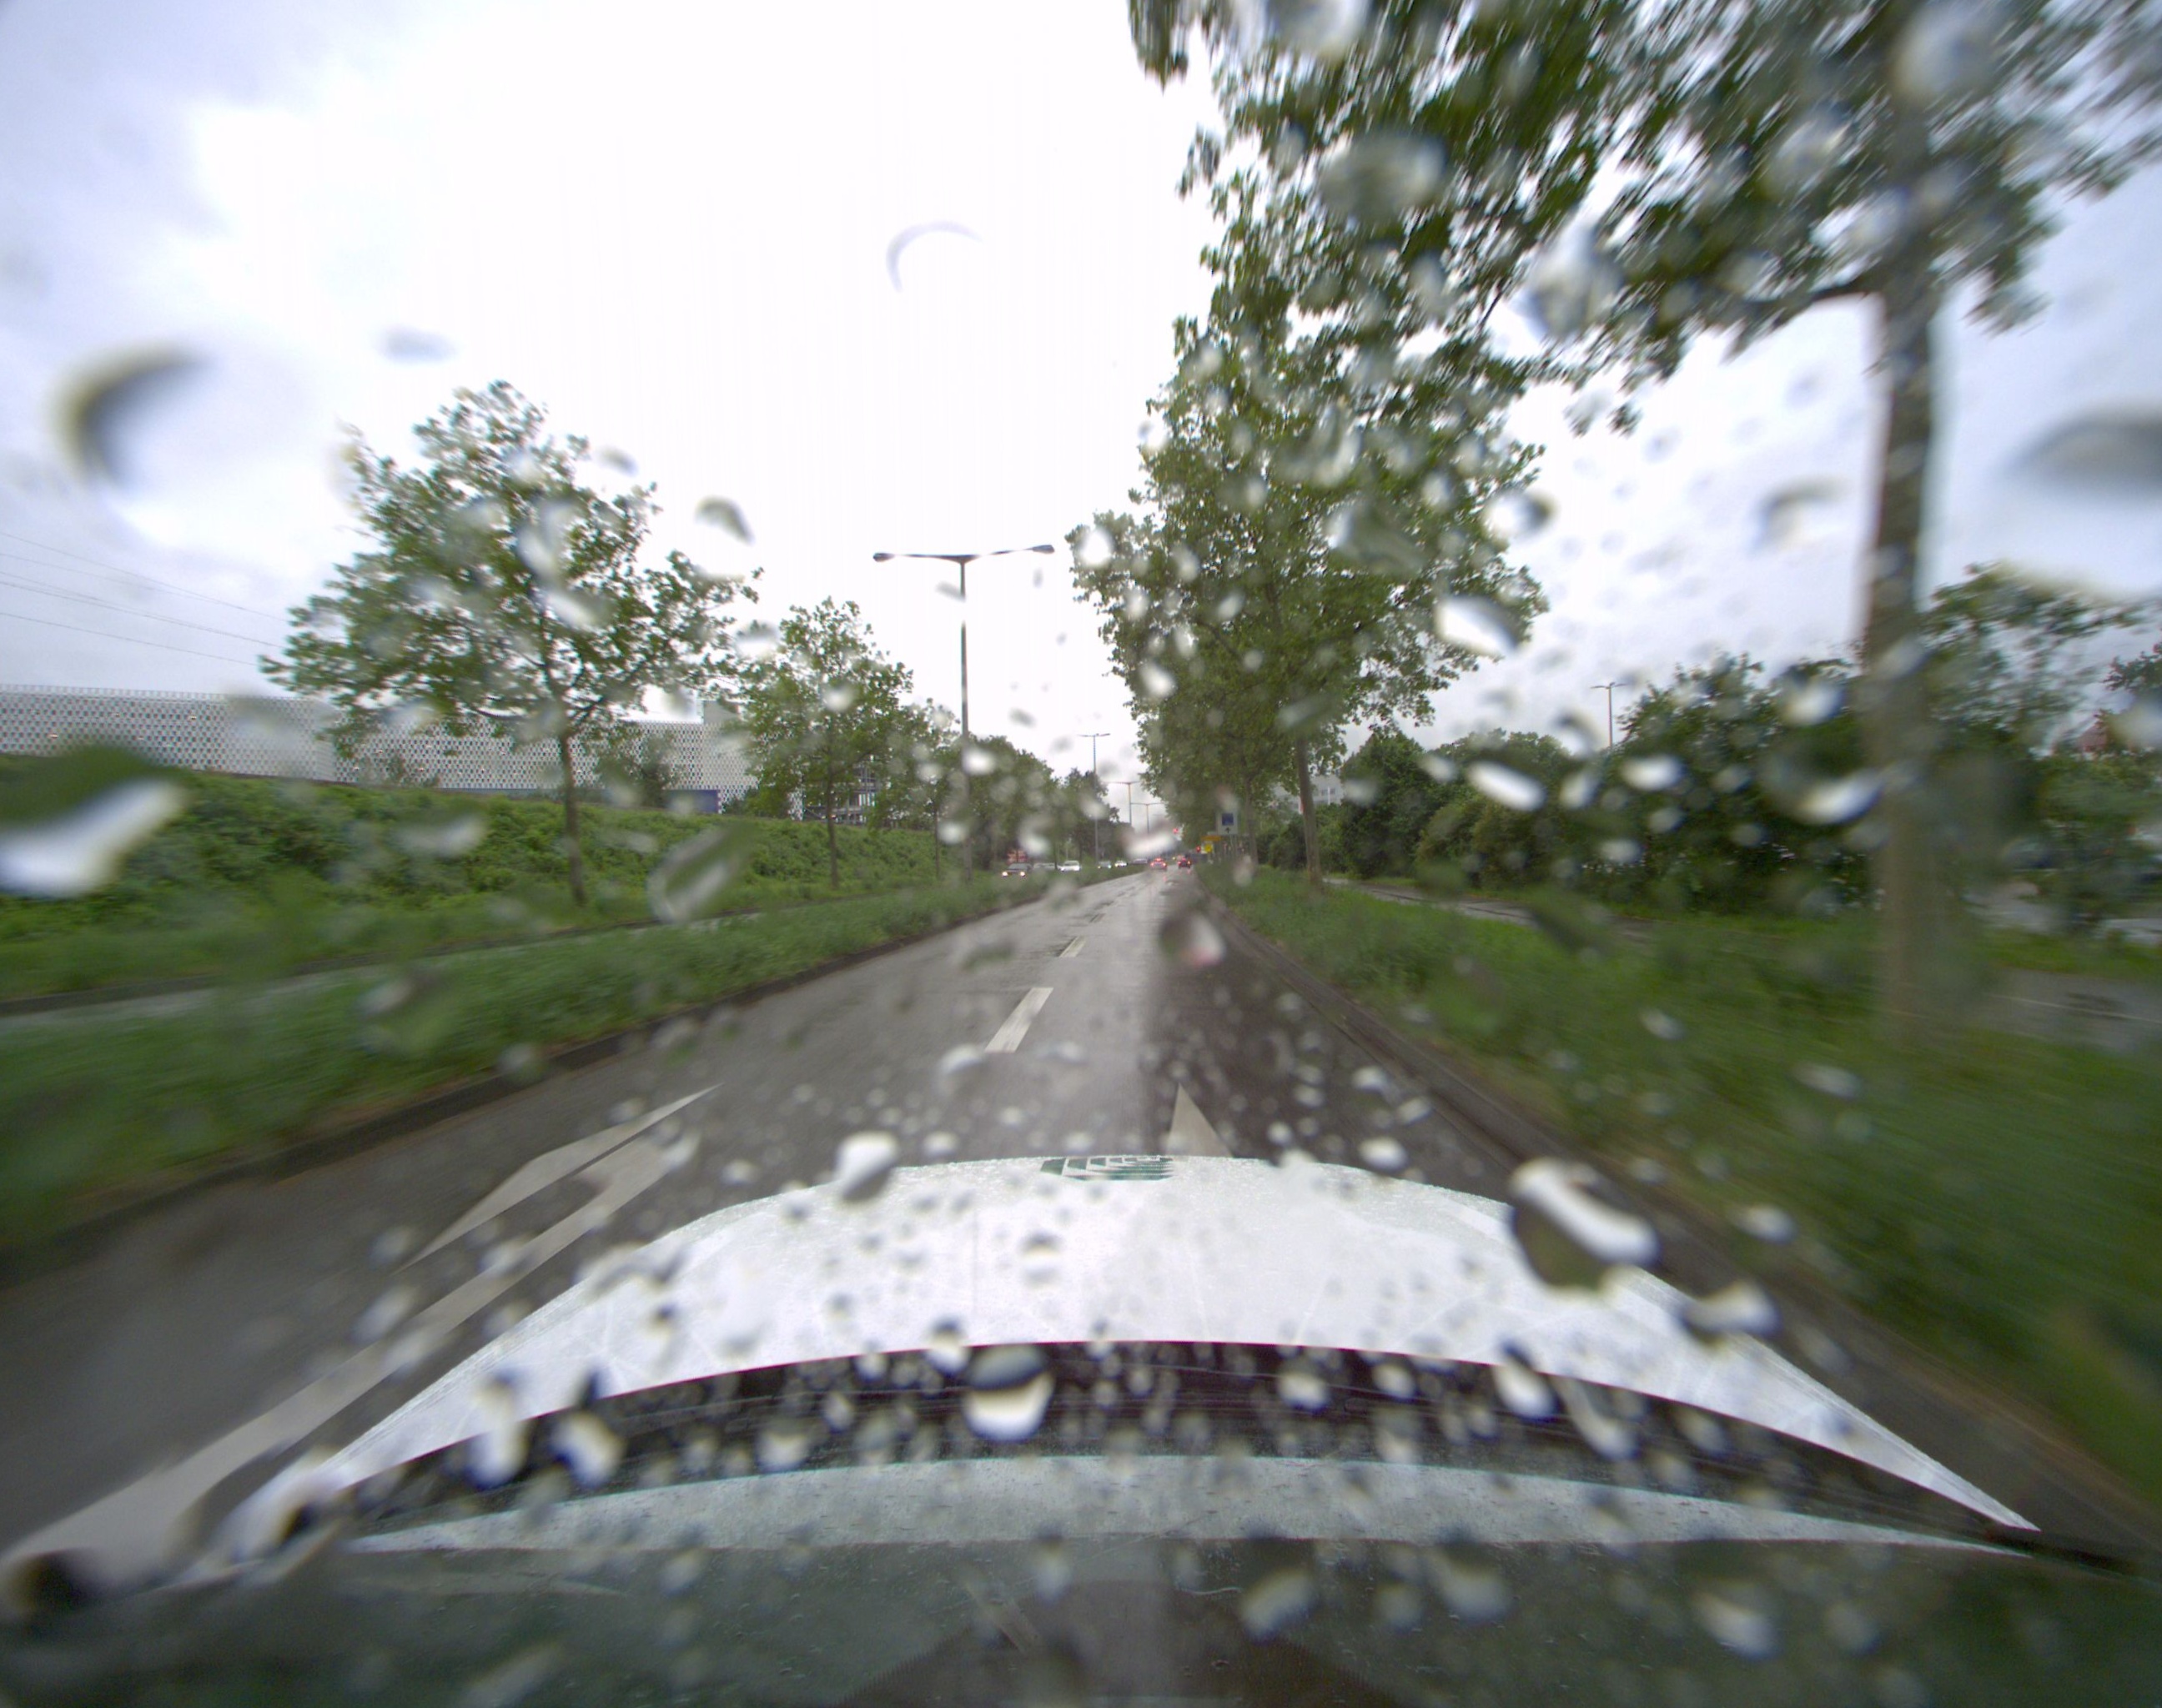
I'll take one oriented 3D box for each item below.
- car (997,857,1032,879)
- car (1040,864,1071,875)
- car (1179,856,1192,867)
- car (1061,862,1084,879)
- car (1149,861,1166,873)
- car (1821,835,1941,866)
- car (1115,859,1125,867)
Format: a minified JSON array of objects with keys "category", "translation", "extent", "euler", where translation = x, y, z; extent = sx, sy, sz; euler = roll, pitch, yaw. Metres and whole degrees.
[{"category":"car","translation":[-4.536,0.948,55.965],"extent":[1.623,1.426,4.007],"euler":[-1,0,7]},{"category":"car","translation":[-3.983,2.402,126.540],"extent":[4.624,1.445,1.938],"euler":[-1,-1,2]},{"category":"car","translation":[15.559,1.132,121.087],"extent":[1.786,1.537,4.397],"euler":[0,-1,8]},{"category":"car","translation":[-0.826,1.573,79.325],"extent":[1.693,1.495,4.212],"euler":[-1,0,7]},{"category":"car","translation":[8.985,1.510,95.475],"extent":[1.680,1.433,4.584],"euler":[-1,-1,8]},{"category":"car","translation":[41.106,-0.151,41.935],"extent":[1.789,1.479,4.039],"euler":[-1,-1,-27]},{"category":"car","translation":[8.056,1.821,169.317],"extent":[1.703,1.530,4.009],"euler":[-2,-1,8]}]
